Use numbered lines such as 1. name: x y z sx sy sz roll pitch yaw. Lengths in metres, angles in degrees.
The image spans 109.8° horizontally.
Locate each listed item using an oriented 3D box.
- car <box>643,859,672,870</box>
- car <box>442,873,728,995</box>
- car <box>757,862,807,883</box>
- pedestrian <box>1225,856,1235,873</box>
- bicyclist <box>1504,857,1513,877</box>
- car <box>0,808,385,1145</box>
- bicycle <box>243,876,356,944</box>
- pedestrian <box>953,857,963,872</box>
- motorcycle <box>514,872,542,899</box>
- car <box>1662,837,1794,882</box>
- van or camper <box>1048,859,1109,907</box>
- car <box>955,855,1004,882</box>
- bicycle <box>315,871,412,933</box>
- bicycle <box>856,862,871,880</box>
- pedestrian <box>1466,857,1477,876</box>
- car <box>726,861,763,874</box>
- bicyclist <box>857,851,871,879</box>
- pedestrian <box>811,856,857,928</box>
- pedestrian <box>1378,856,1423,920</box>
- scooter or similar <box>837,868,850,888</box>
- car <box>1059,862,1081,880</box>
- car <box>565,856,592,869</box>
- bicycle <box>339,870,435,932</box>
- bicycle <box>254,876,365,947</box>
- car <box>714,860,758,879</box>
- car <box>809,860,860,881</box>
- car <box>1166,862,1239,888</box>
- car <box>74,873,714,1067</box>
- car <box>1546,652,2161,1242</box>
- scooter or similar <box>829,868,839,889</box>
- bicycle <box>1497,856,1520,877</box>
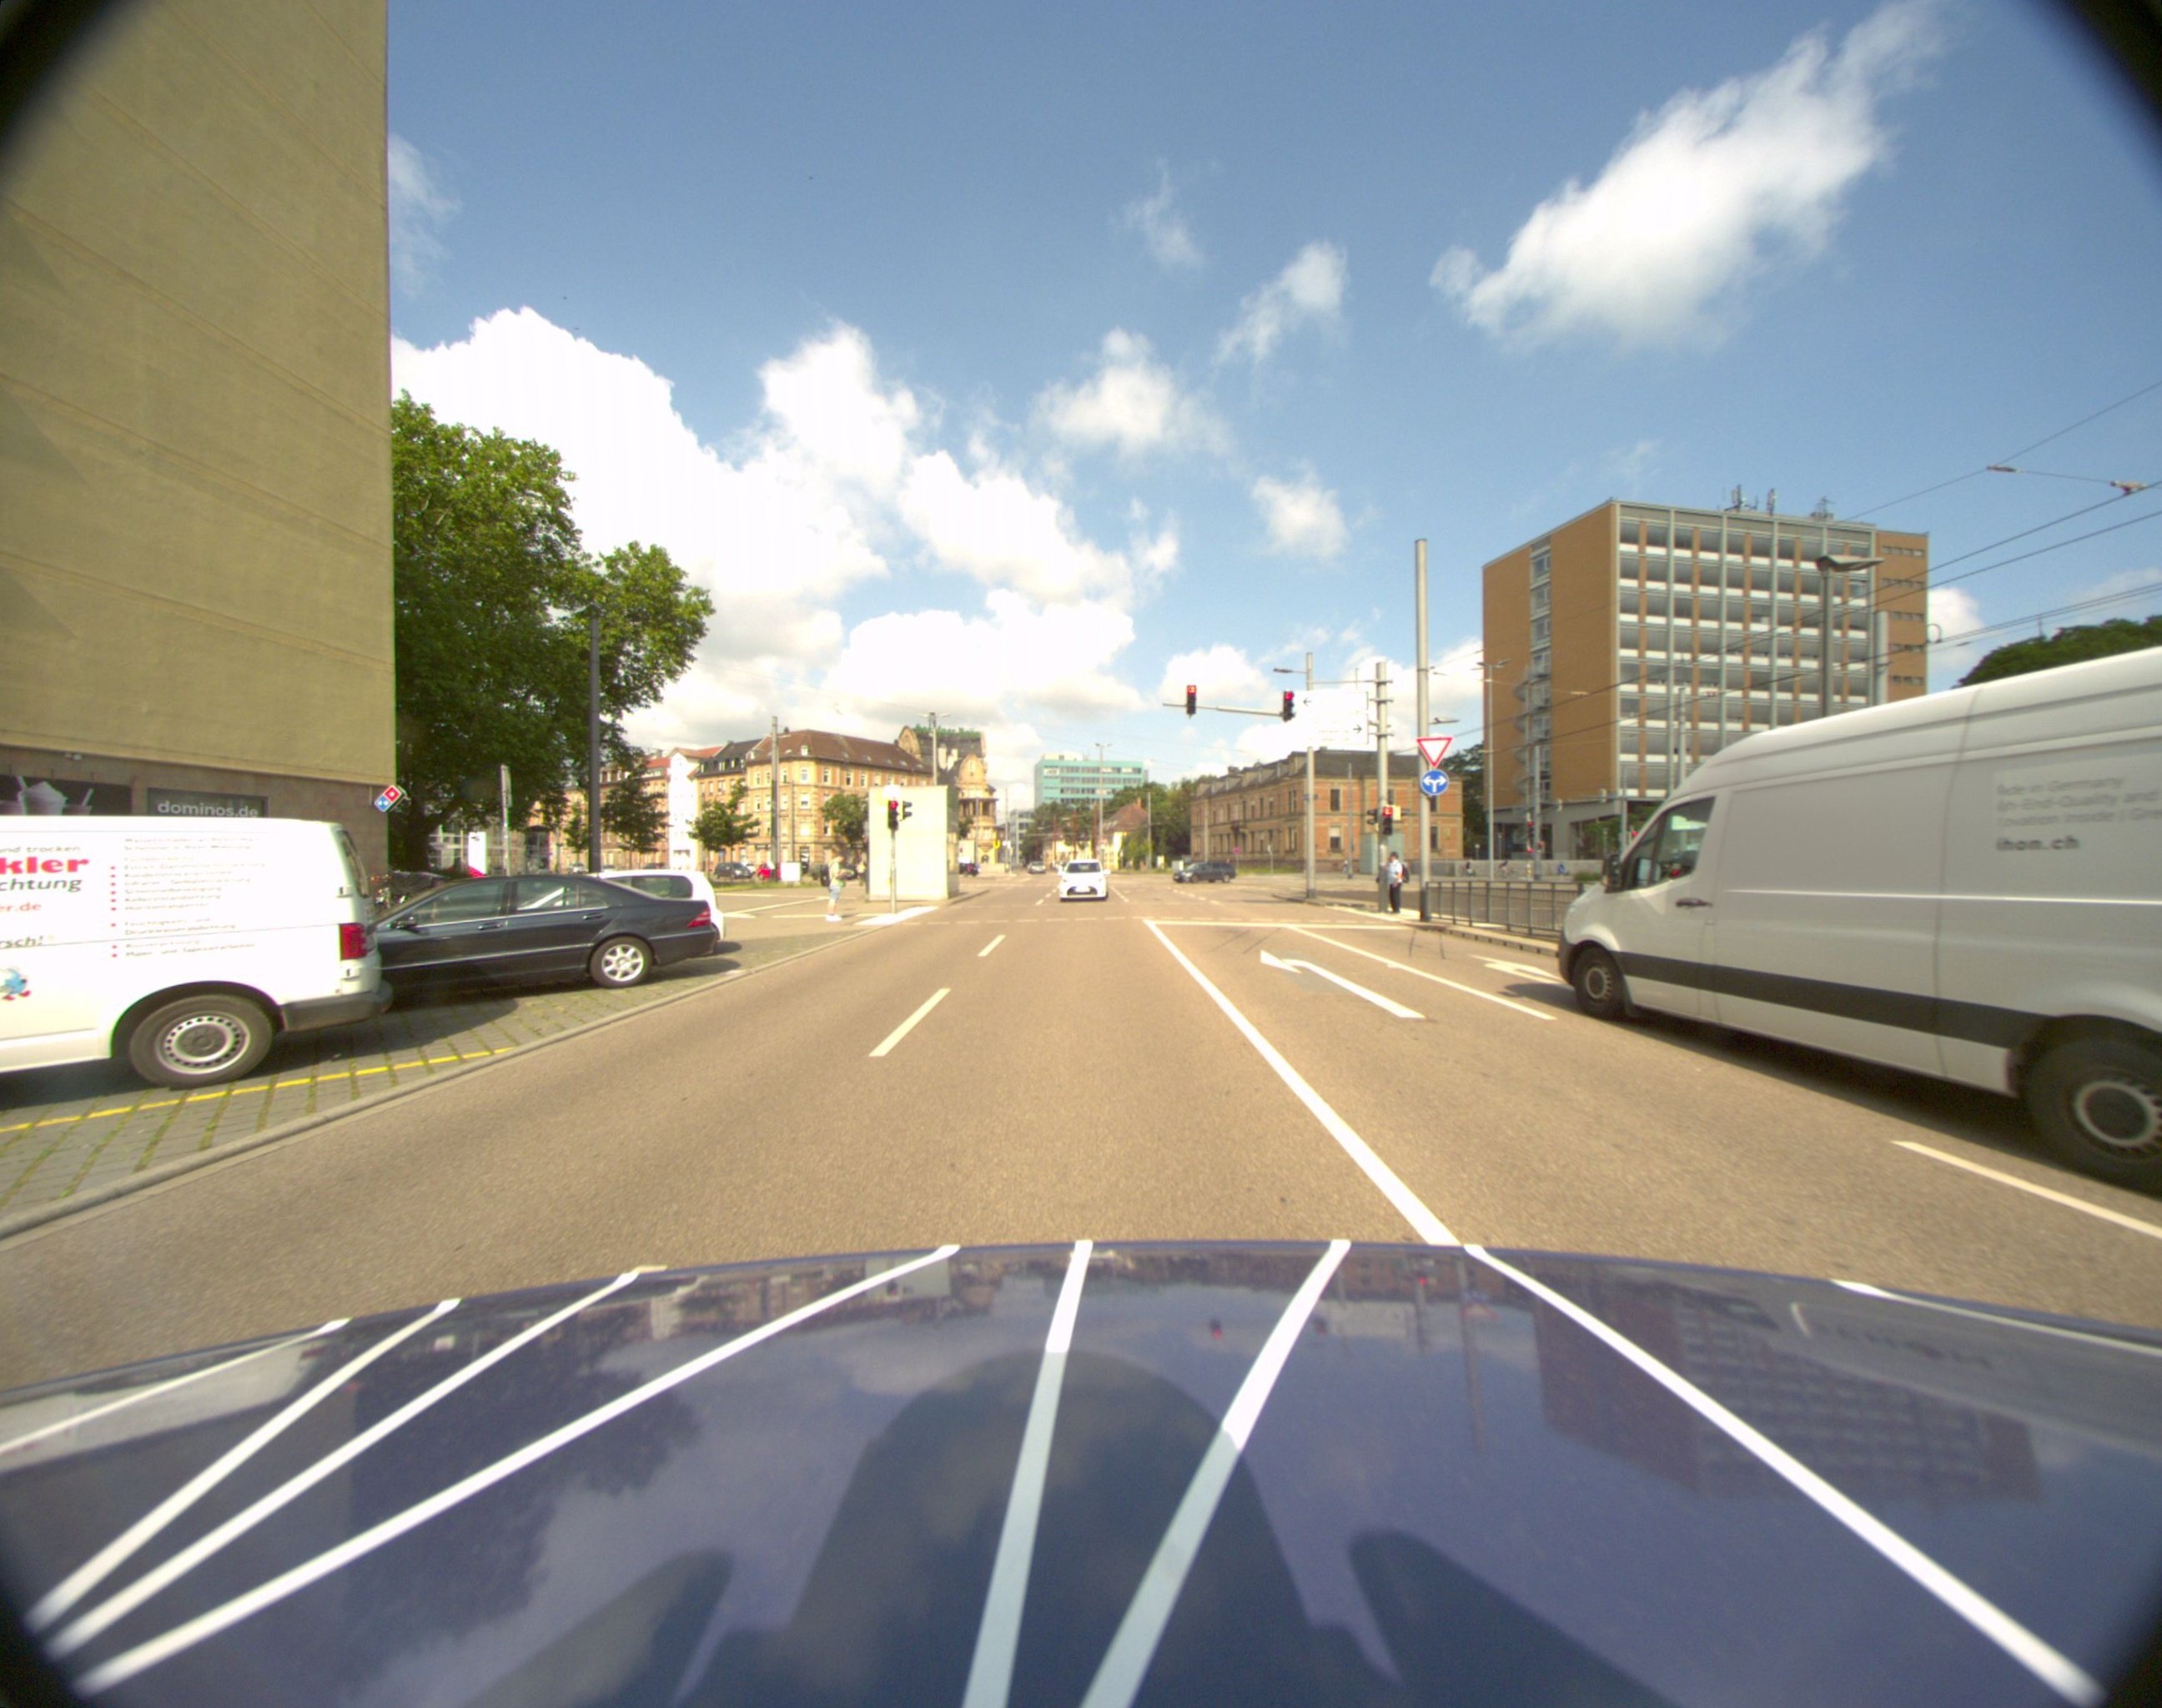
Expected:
1. car: -59.727 1.524 107.136 4.244 1.519 1.777 0 -1 32
2. car: -7.696 1.119 11.940 3.518 1.432 1.715 -3 2 -40
3. car: -25.731 1.578 65.380 3.988 1.511 2.003 0 5 33
4. pedestrian: 15.316 1.052 77.959 0.784 1.726 0.859 0 0 -8
5. bicyclist: 36.034 1.123 64.109 0.654 1.661 0.575 0 1 28
6. car: -7.906 0.798 4.896 4.909 2.072 2.074 -2 0 -45
7. bicycle: -15.927 1.103 15.541 0.487 1.265 1.646 0 1 5
8. pedestrian: -13.604 1.154 83.849 0.798 1.632 0.707 0 1 -42
9. motorcycle: -20.809 1.169 28.590 0.606 0.898 1.889 -4 2 -42
10. car: 42.645 0.361 50.299 6.136 2.862 2.489 0 0 16
11. van or camper: -0.014 0.940 26.179 1.626 1.467 4.002 0 0 7
12. car: -9.042 1.285 68.055 3.997 2.003 1.998 -2 4 0
13. bicycle: -15.988 1.038 16.987 0.487 1.265 1.646 0 1 5
14. bicycle: -14.000 1.088 48.970 0.790 1.121 1.990 0 0 -12
15. pedestrian: 34.552 1.084 67.200 0.763 1.579 0.774 2 3 28
16. car: -42.596 1.660 96.133 4.222 1.438 1.686 -2 2 22
17. bicyclist: -13.958 0.721 48.879 0.712 1.735 0.827 2 1 -13
18. pedestrian: -6.466 0.968 19.858 0.996 1.750 0.784 -3 5 -23
19. pedestrian: 8.591 0.906 20.481 0.844 1.664 0.795 1 1 -1
20. scooter or similar: -14.198 1.399 45.409 0.382 1.151 0.927 -1 2 -38
21. car: -1.365 2.012 90.818 2.000 1.730 4.334 -3 4 -9
22. car: -70.297 1.183 106.330 3.988 1.696 1.790 0 0 35
23. bicycle: -15.449 1.017 16.971 0.531 1.265 1.646 0 1 5
24. bicycle: -15.379 1.105 15.218 0.488 1.265 1.888 0 1 -7
25. car: -31.993 1.415 70.398 3.988 1.544 2.003 2 4 36
26. car: -20.419 1.313 62.799 3.988 1.505 1.829 0 5 33
27. car: 8.209 1.396 51.362 4.549 1.274 1.995 -4 5 -25
28. car: -7.302 1.058 8.887 5.074 1.460 1.885 -1 1 -41
29. car: 5.786 0.409 4.987 1.998 2.606 5.579 1 1 0
30. scooter or similar: -14.624 1.447 44.999 0.382 1.151 0.927 -1 2 -26
31. bicycle: 36.038 1.039 64.082 1.633 1.767 0.733 0 0 27
